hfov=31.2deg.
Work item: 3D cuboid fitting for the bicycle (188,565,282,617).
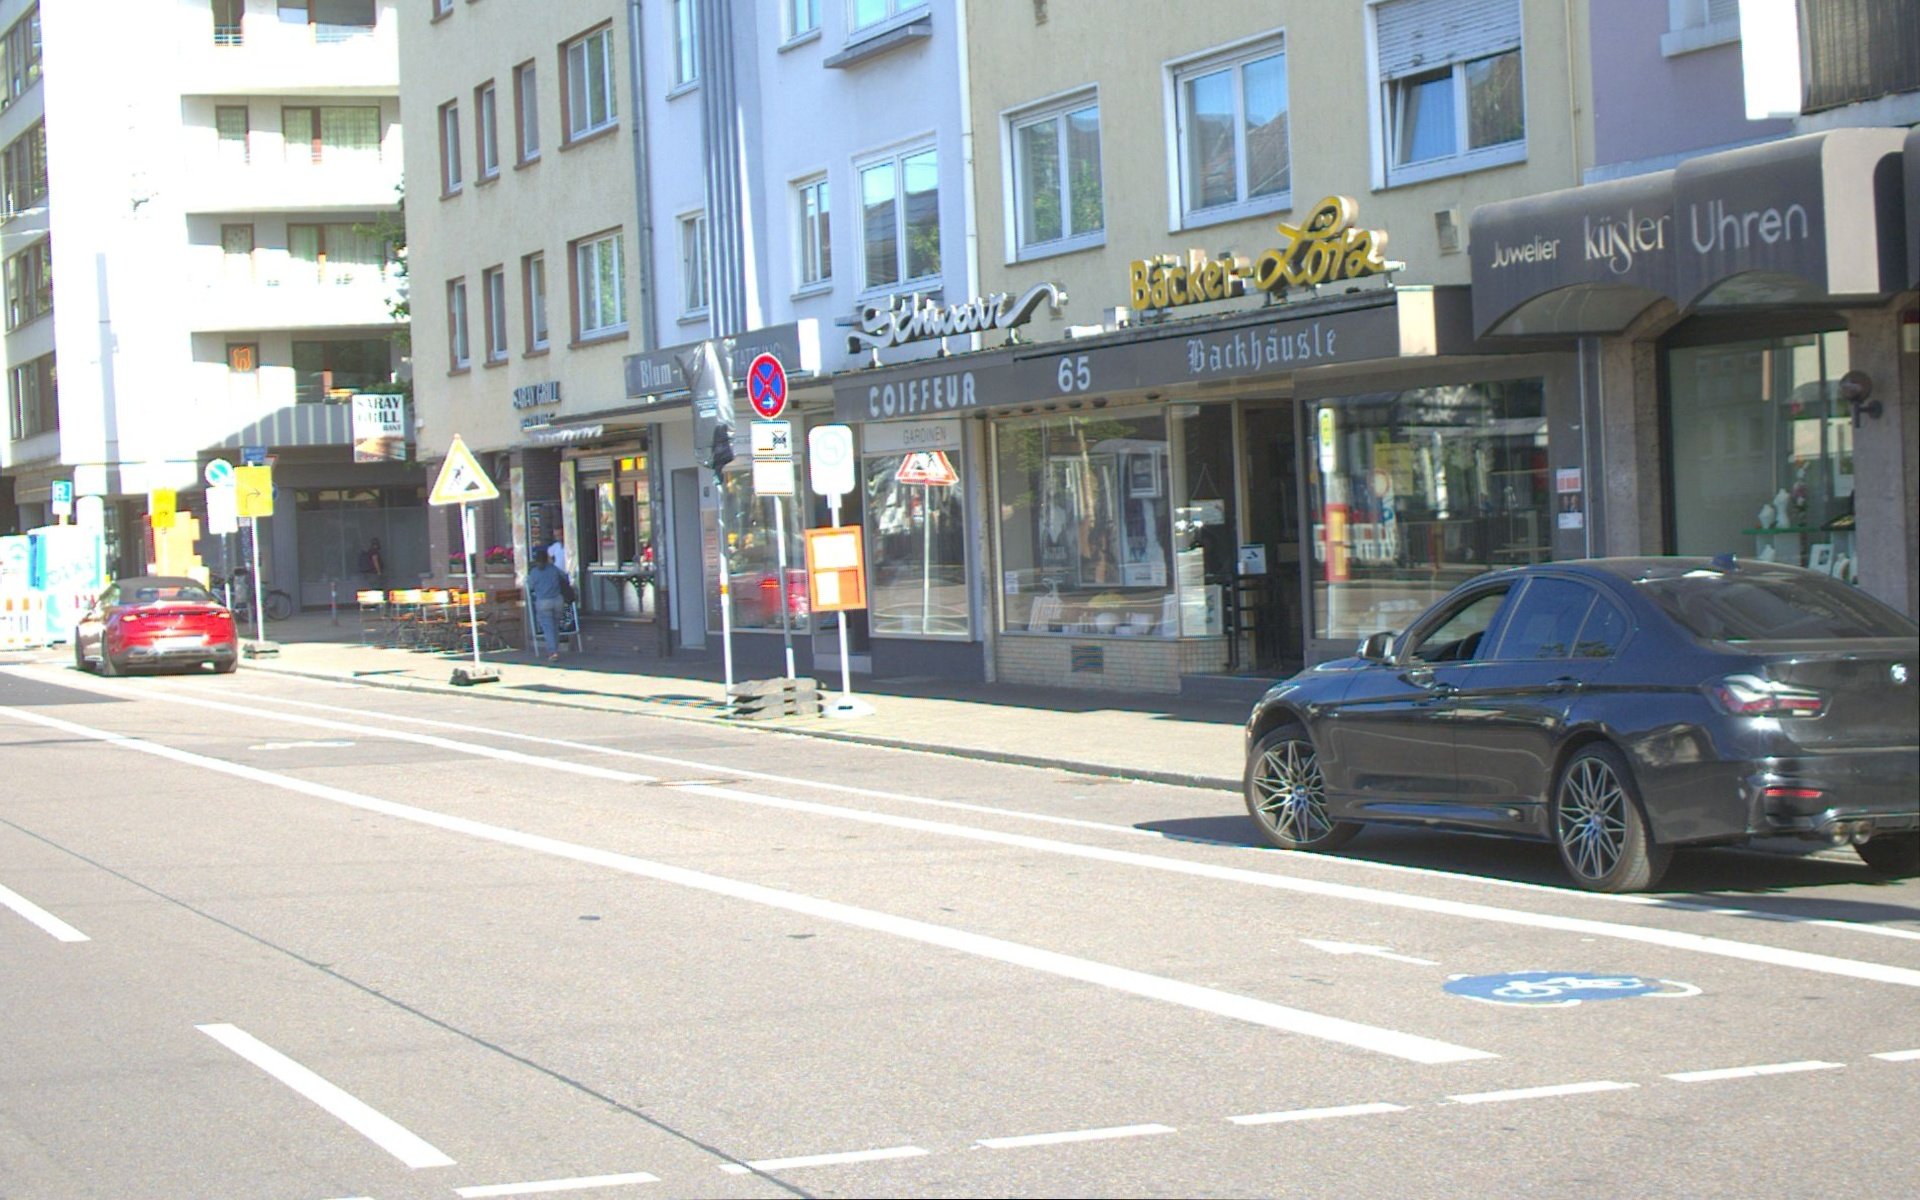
[{"bbox_3d":[-15.945,-0.192,75.636,1.943,1.063,0.583,-2,1,-6],"label":"bicycle"}]

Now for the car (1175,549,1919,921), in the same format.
[{"bbox_3d":[2.928,0.516,16.221,1.738,1.435,4.656,-3,1,-25],"label":"car"}]

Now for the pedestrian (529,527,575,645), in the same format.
[{"bbox_3d":[-5.753,-0.195,48.455,0.470,1.638,0.508,-2,1,-21],"label":"pedestrian"}]

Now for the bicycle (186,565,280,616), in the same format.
[{"bbox_3d":[-16.145,-0.214,76.374,1.943,1.063,0.583,-2,1,-6],"label":"bicycle"}]

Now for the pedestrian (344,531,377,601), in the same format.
[{"bbox_3d":[-14.456,-0.826,82.893,0.675,1.636,0.578,-3,2,-15],"label":"pedestrian"}]

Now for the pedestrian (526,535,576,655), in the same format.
[{"bbox_3d":[-5.406,-0.065,45.384,0.506,1.556,0.466,-2,1,-20],"label":"pedestrian"}]

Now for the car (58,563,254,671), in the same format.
[{"bbox_3d":[-11.765,0.220,50.143,1.935,1.425,4.001,-3,1,-25],"label":"car"}]
